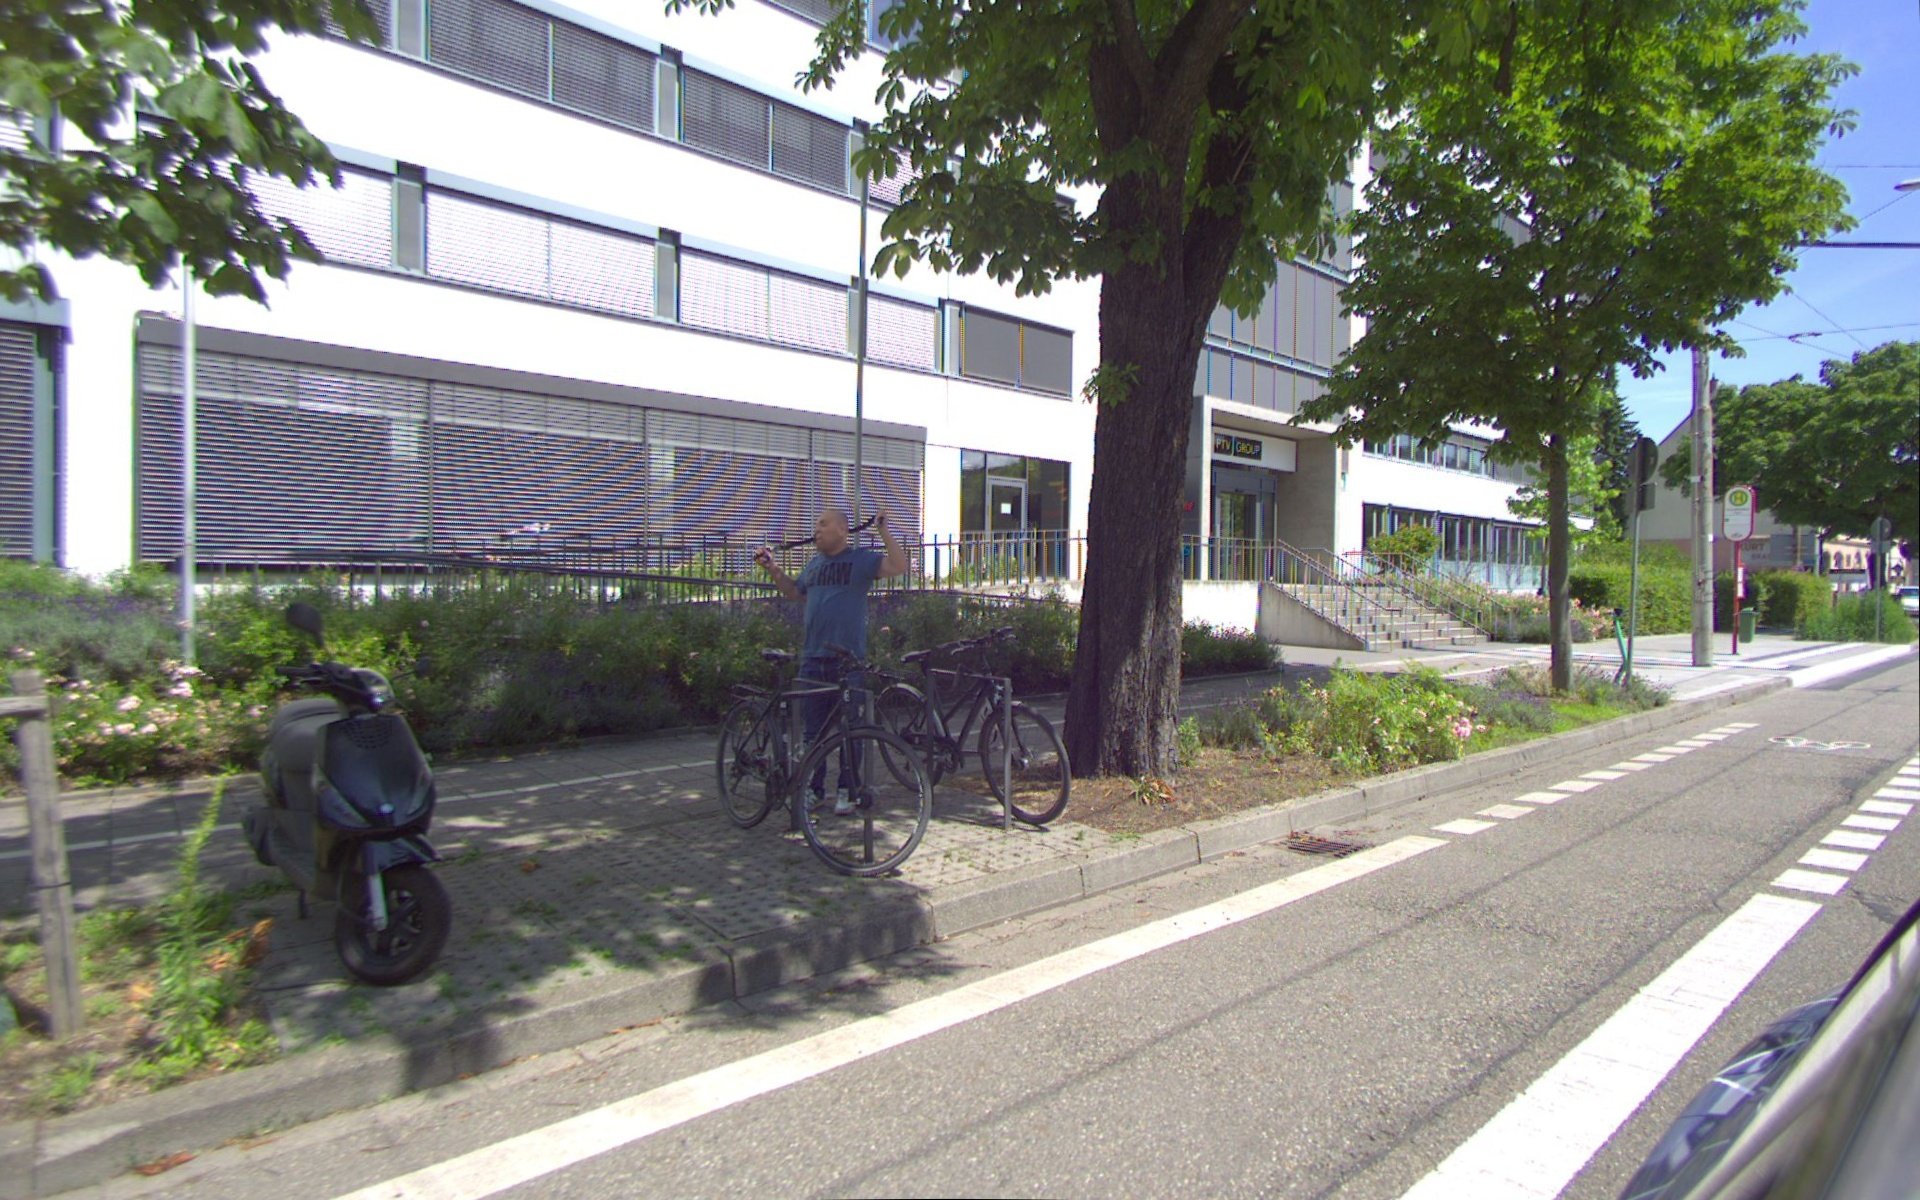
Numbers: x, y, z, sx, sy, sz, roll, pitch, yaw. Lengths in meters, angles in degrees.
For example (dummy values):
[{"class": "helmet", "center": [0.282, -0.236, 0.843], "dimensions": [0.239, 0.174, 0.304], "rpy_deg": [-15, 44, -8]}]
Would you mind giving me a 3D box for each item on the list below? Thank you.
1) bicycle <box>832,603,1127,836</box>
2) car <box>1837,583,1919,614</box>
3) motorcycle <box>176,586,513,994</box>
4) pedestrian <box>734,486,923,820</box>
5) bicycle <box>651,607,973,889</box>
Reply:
[{"class": "bicycle", "center": [0.068, 0.639, 6.253], "dimensions": [1.813, 1.179, 0.700], "rpy_deg": [2, 1, 43]}, {"class": "car", "center": [54.216, -0.110, 58.508], "dimensions": [1.967, 1.764, 5.204], "rpy_deg": [-1, 0, -44]}, {"class": "motorcycle", "center": [-2.583, 0.601, 4.149], "dimensions": [1.813, 1.292, 0.710], "rpy_deg": [2, 1, 43]}, {"class": "pedestrian", "center": [-0.759, 0.287, 6.071], "dimensions": [0.967, 1.855, 0.787], "rpy_deg": [0, 0, 6]}, {"class": "bicycle", "center": [-0.839, 0.659, 5.339], "dimensions": [1.813, 1.179, 0.700], "rpy_deg": [2, 1, 43]}]
